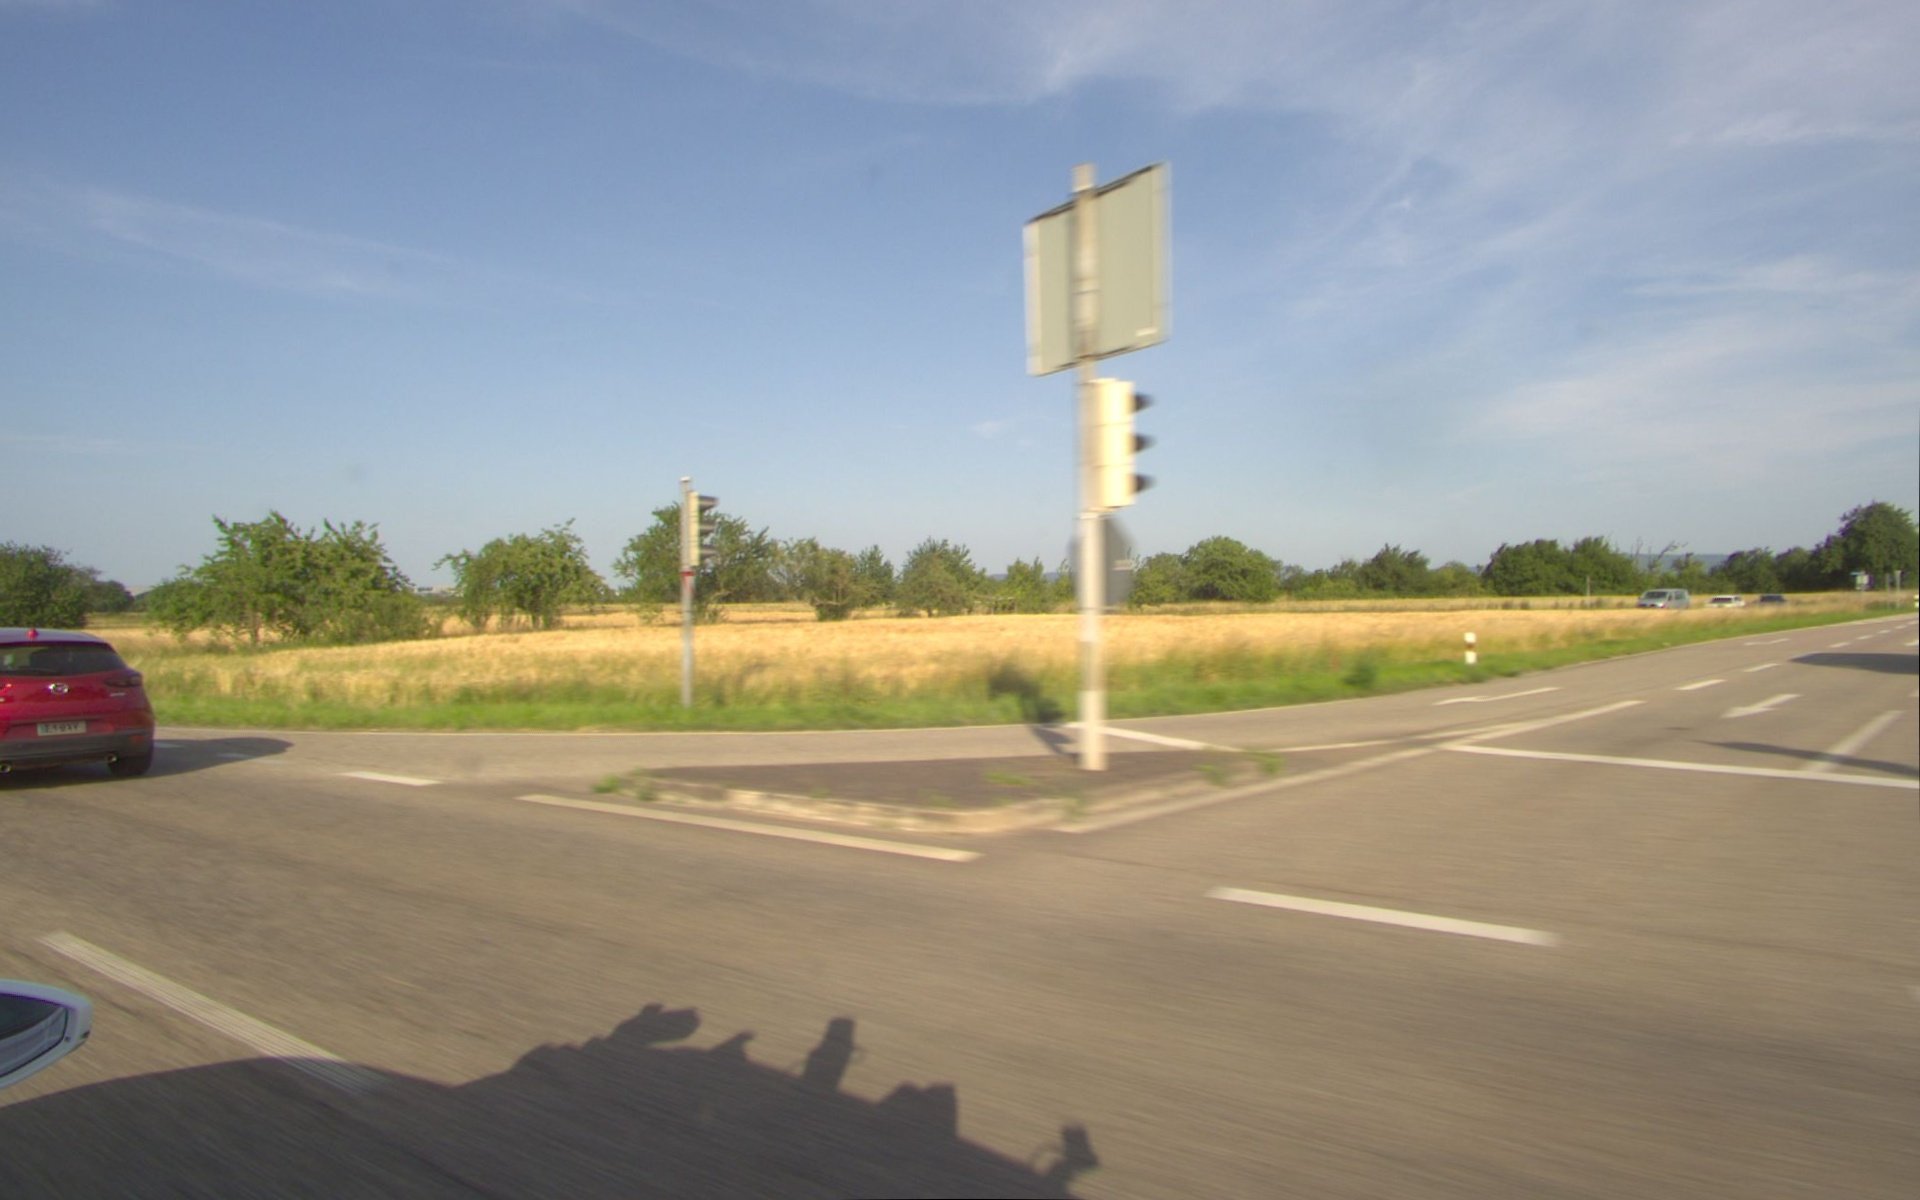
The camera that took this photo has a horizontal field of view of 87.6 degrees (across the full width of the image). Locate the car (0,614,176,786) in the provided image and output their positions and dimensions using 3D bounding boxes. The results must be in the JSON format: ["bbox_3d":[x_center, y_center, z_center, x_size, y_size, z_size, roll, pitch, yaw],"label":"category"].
[{"bbox_3d":[-10.163,0.945,10.476,4.436,1.525,1.701,-1,-2,32],"label":"car"}]

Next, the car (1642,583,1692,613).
[{"bbox_3d":[50.402,-0.116,71.363,3.952,1.972,1.834,1,-2,-37],"label":"car"}]

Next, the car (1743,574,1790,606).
[{"bbox_3d":[54.441,-0.649,67.574,3.959,1.972,1.830,1,-2,-42],"label":"car"}]

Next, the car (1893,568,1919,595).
[{"bbox_3d":[69.532,-1.341,72.867,3.953,1.776,1.833,1,-2,-38],"label":"car"}]
